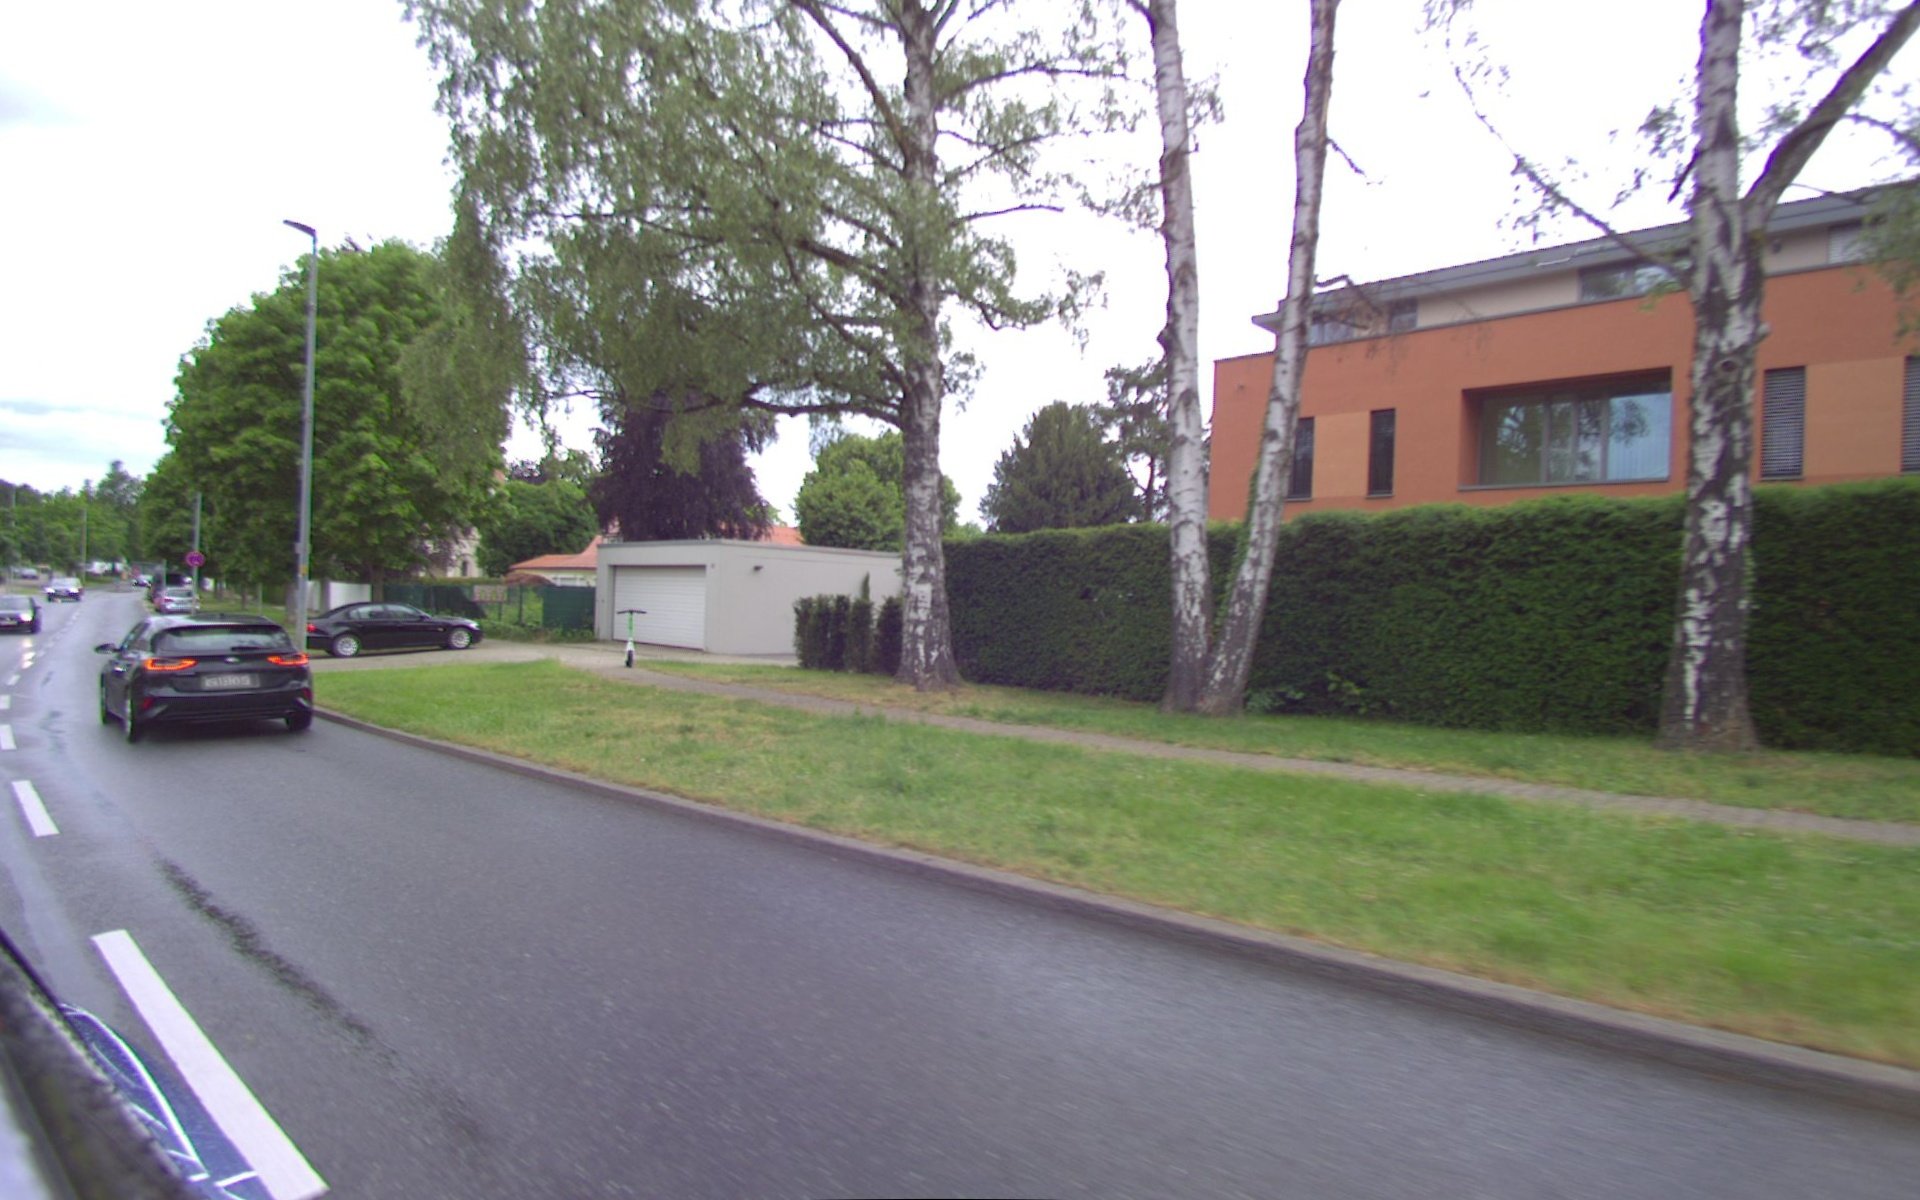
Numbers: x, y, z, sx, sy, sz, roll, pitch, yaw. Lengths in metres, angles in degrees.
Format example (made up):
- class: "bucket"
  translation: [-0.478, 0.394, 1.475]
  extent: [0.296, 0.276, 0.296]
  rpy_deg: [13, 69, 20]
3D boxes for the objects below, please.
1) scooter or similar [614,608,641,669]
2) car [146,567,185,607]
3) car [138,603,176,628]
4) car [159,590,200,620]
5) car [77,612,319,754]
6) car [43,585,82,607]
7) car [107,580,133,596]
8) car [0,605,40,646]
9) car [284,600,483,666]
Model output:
- class: "scooter or similar"
  translation: [-6.756, 0.757, 20.536]
  extent: [0.418, 1.167, 1.495]
  rpy_deg: [-1, 0, -21]
- class: "car"
  translation: [-58.902, -1.002, 75.103]
  extent: [2.213, 2.860, 5.055]
  rpy_deg: [-1, 2, -37]
- class: "car"
  translation: [-48.145, 0.891, 60.721]
  extent: [1.680, 1.333, 3.851]
  rpy_deg: [-2, 2, -37]
- class: "car"
  translation: [-44.142, 0.250, 57.244]
  extent: [1.748, 1.618, 4.009]
  rpy_deg: [1, 0, -37]
- class: "car"
  translation: [-9.677, 0.912, 12.727]
  extent: [4.157, 1.452, 1.735]
  rpy_deg: [-1, 0, 43]
- class: "car"
  translation: [-65.681, -0.324, 74.108]
  extent: [1.867, 1.552, 4.008]
  rpy_deg: [-1, 1, -39]
- class: "car"
  translation: [-85.390, -1.237, 102.928]
  extent: [1.866, 1.552, 4.009]
  rpy_deg: [-1, 1, -37]
- class: "car"
  translation: [-38.425, 1.004, 40.771]
  extent: [1.819, 1.552, 4.007]
  rpy_deg: [-1, 1, -40]
- class: "car"
  translation: [-15.499, 0.830, 27.341]
  extent: [4.373, 1.428, 1.758]
  rpy_deg: [-3, 2, -41]
